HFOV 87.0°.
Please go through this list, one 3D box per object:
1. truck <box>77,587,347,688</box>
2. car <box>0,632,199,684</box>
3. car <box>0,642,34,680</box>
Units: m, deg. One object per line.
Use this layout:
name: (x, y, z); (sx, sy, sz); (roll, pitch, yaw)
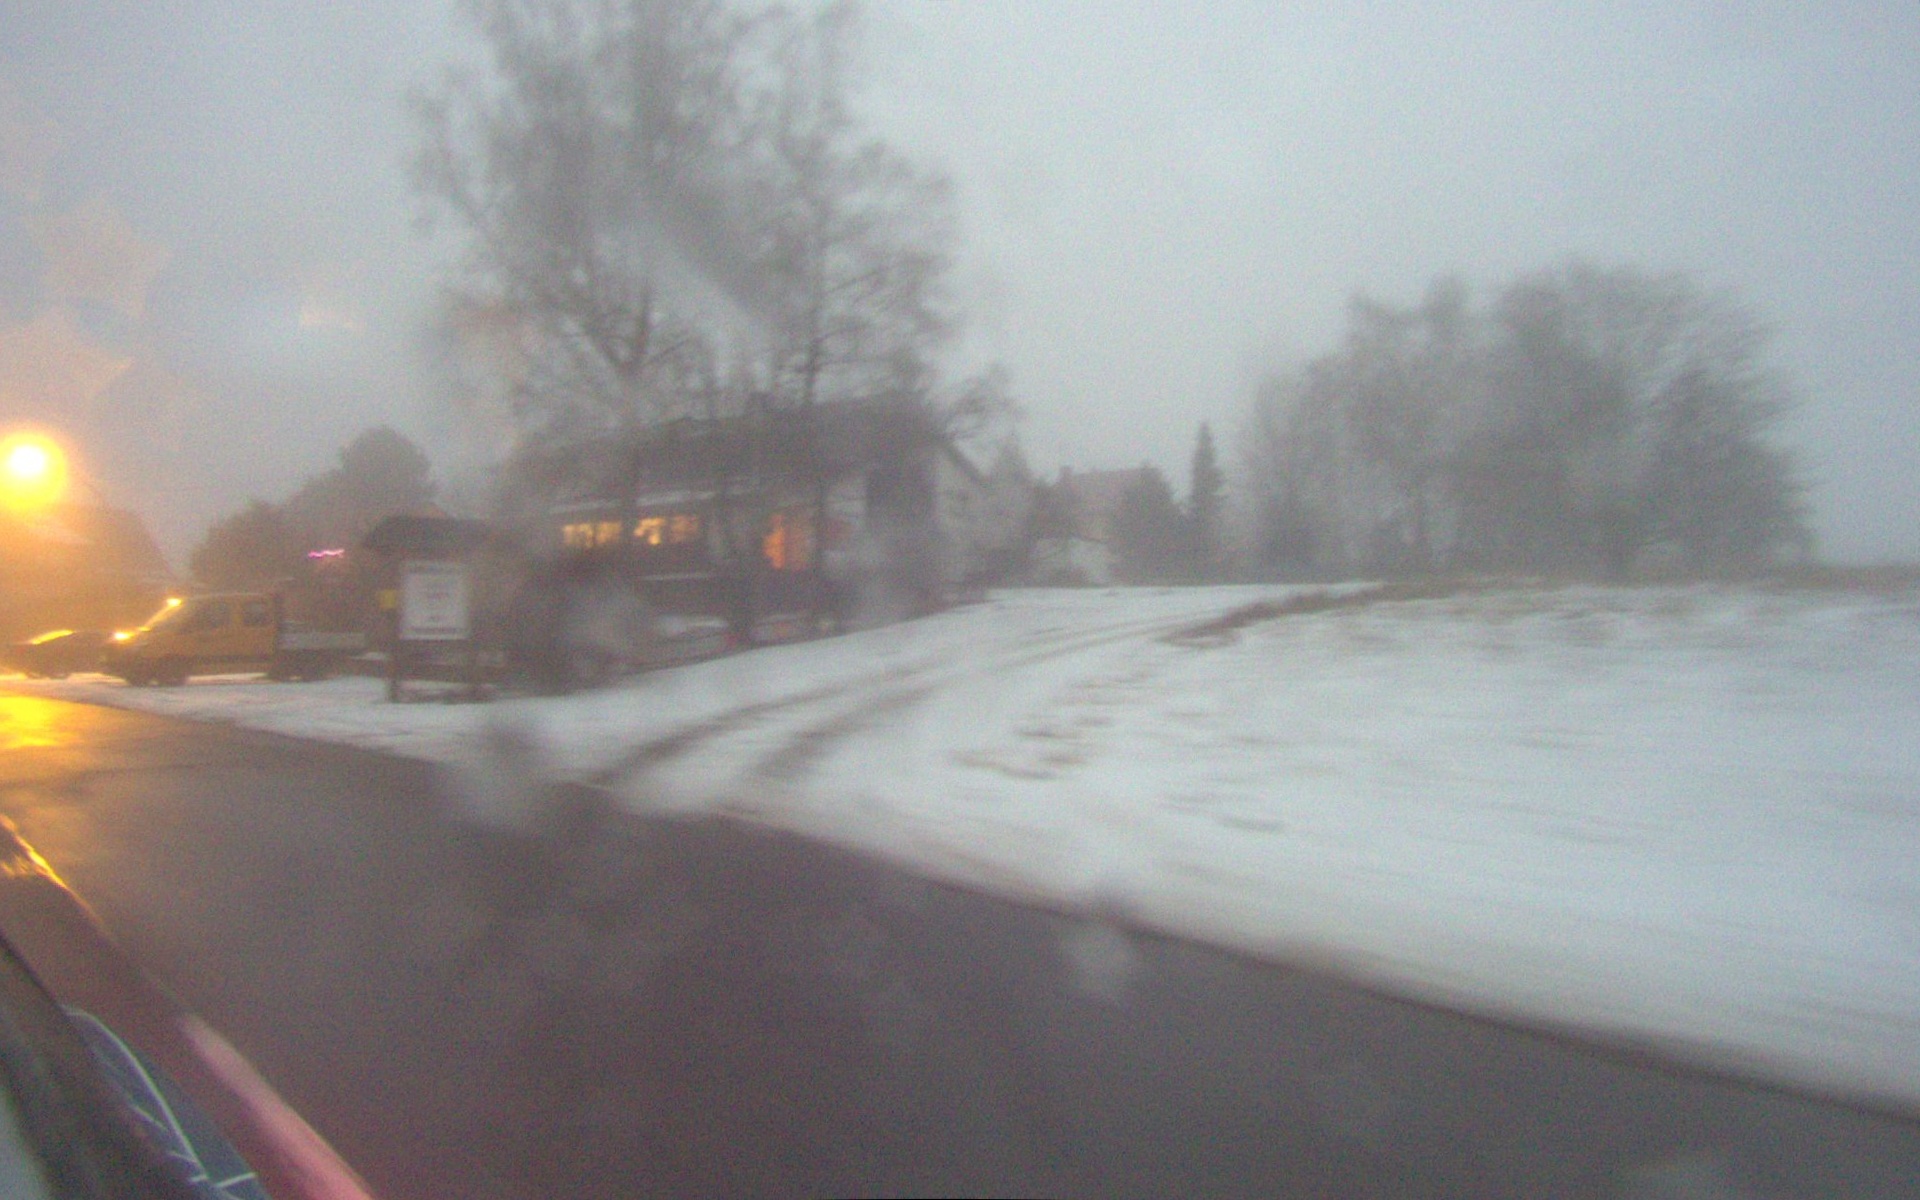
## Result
truck: (-19.017, 1.035, 26.075); (1.991, 2.320, 5.227); (-3, -4, 28)
car: (-27.074, 1.822, 31.601); (2.114, 1.496, 4.854); (-3, -4, 29)
car: (-38.311, 2.349, 38.713); (1.928, 1.483, 3.834); (-3, -4, 25)
